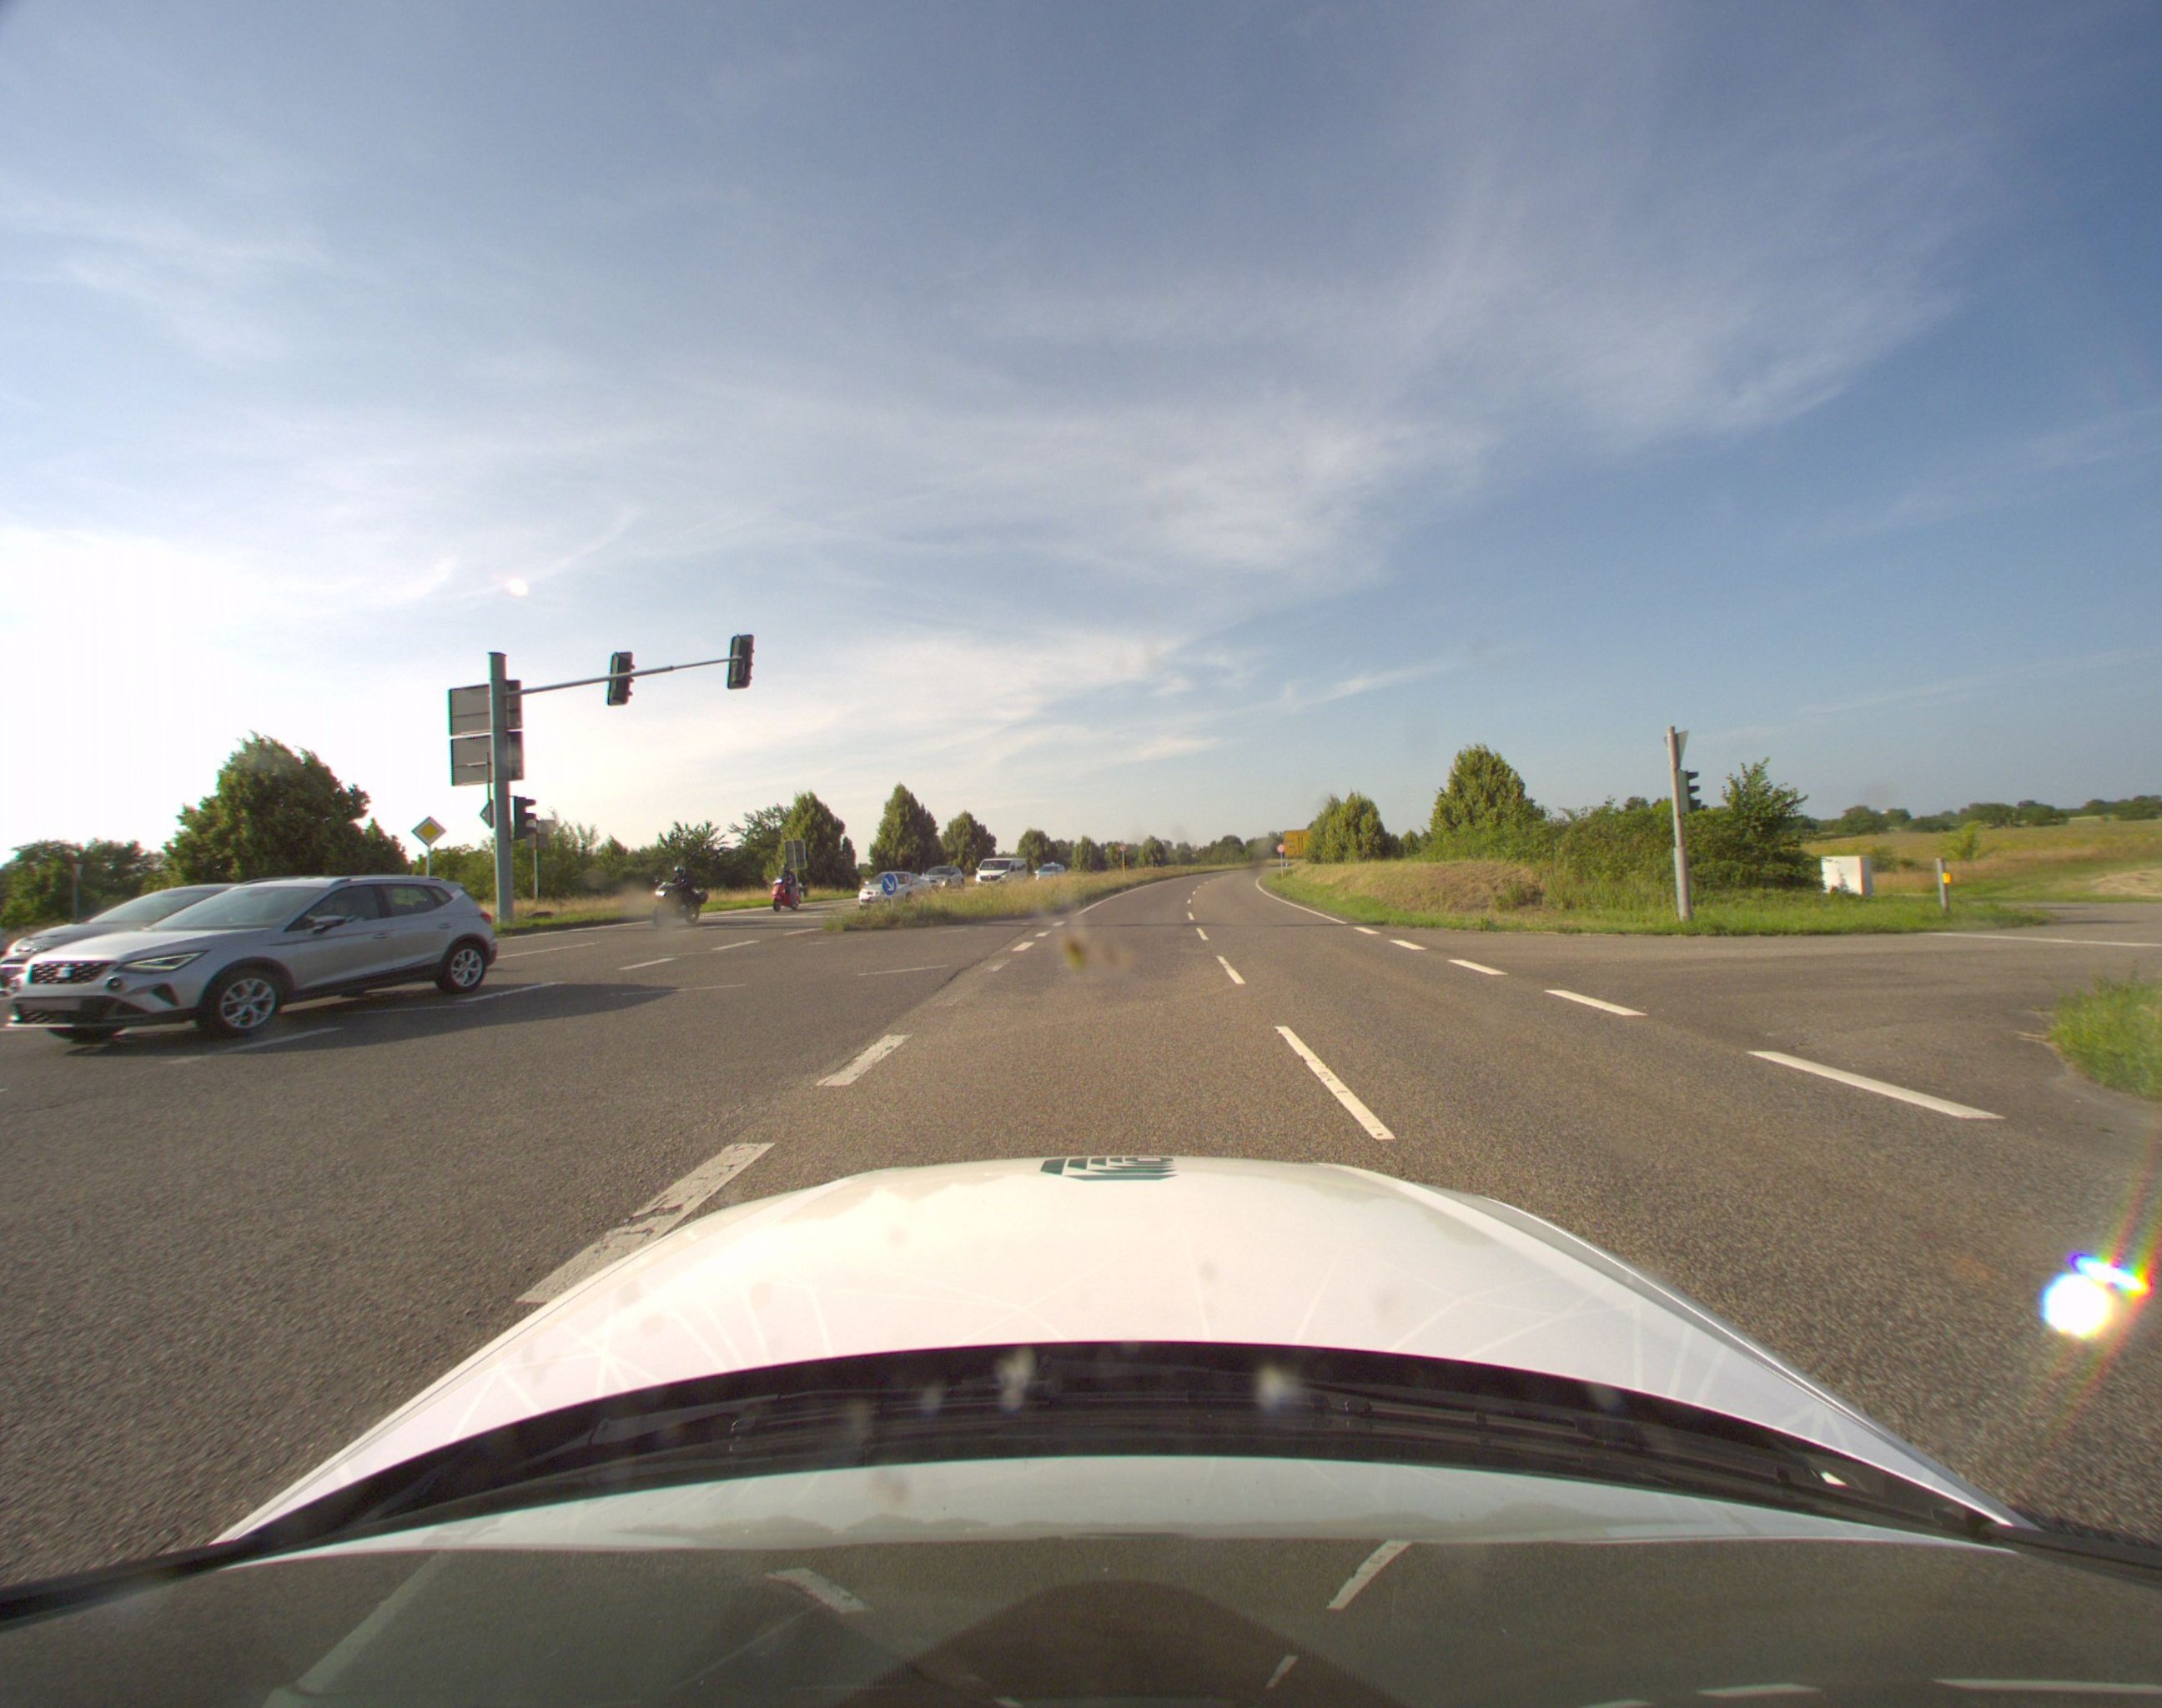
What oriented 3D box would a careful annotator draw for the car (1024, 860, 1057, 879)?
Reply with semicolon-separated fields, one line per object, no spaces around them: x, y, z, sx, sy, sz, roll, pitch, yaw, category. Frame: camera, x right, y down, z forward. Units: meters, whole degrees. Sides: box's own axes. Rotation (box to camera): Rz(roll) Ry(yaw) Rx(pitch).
-3.575;1.375;73.081;1.900;1.565;4.624;-2;-1;11;car

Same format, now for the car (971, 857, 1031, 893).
-4.487;1.163;46.650;1.982;1.904;5.802;-2;-1;8;car

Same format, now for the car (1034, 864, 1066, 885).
-2.238;1.509;59.562;1.669;1.443;3.761;-1;-1;8;car

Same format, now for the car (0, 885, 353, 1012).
-12.827;1.211;11.561;1.679;1.412;3.524;-2;-1;3;car

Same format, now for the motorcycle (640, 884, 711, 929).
-11.431;1.459;23.046;0.698;1.138;2.280;-2;-1;5;motorcycle

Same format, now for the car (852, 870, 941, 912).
-6.715;1.319;30.198;1.684;1.353;4.463;-2;-1;8;car

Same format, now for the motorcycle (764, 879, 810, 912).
-10.963;1.538;30.447;0.703;1.159;2.028;-2;-1;8;motorcycle

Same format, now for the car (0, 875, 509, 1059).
-8.794;1.044;9.147;1.679;1.523;4.095;-2;-1;3;car

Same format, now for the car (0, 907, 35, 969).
-29.584;2.212;19.947;4.456;1.535;1.936;-1;-1;-27;car

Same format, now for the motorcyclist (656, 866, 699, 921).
-11.439;1.098;23.113;0.694;1.503;0.897;-2;-1;4;motorcyclist

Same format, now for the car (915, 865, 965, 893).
-8.225;1.420;47.698;1.696;1.525;4.143;-2;-1;7;car

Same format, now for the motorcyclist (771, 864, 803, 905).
-10.993;1.133;30.438;0.700;1.465;1.022;-2;-1;8;motorcyclist
